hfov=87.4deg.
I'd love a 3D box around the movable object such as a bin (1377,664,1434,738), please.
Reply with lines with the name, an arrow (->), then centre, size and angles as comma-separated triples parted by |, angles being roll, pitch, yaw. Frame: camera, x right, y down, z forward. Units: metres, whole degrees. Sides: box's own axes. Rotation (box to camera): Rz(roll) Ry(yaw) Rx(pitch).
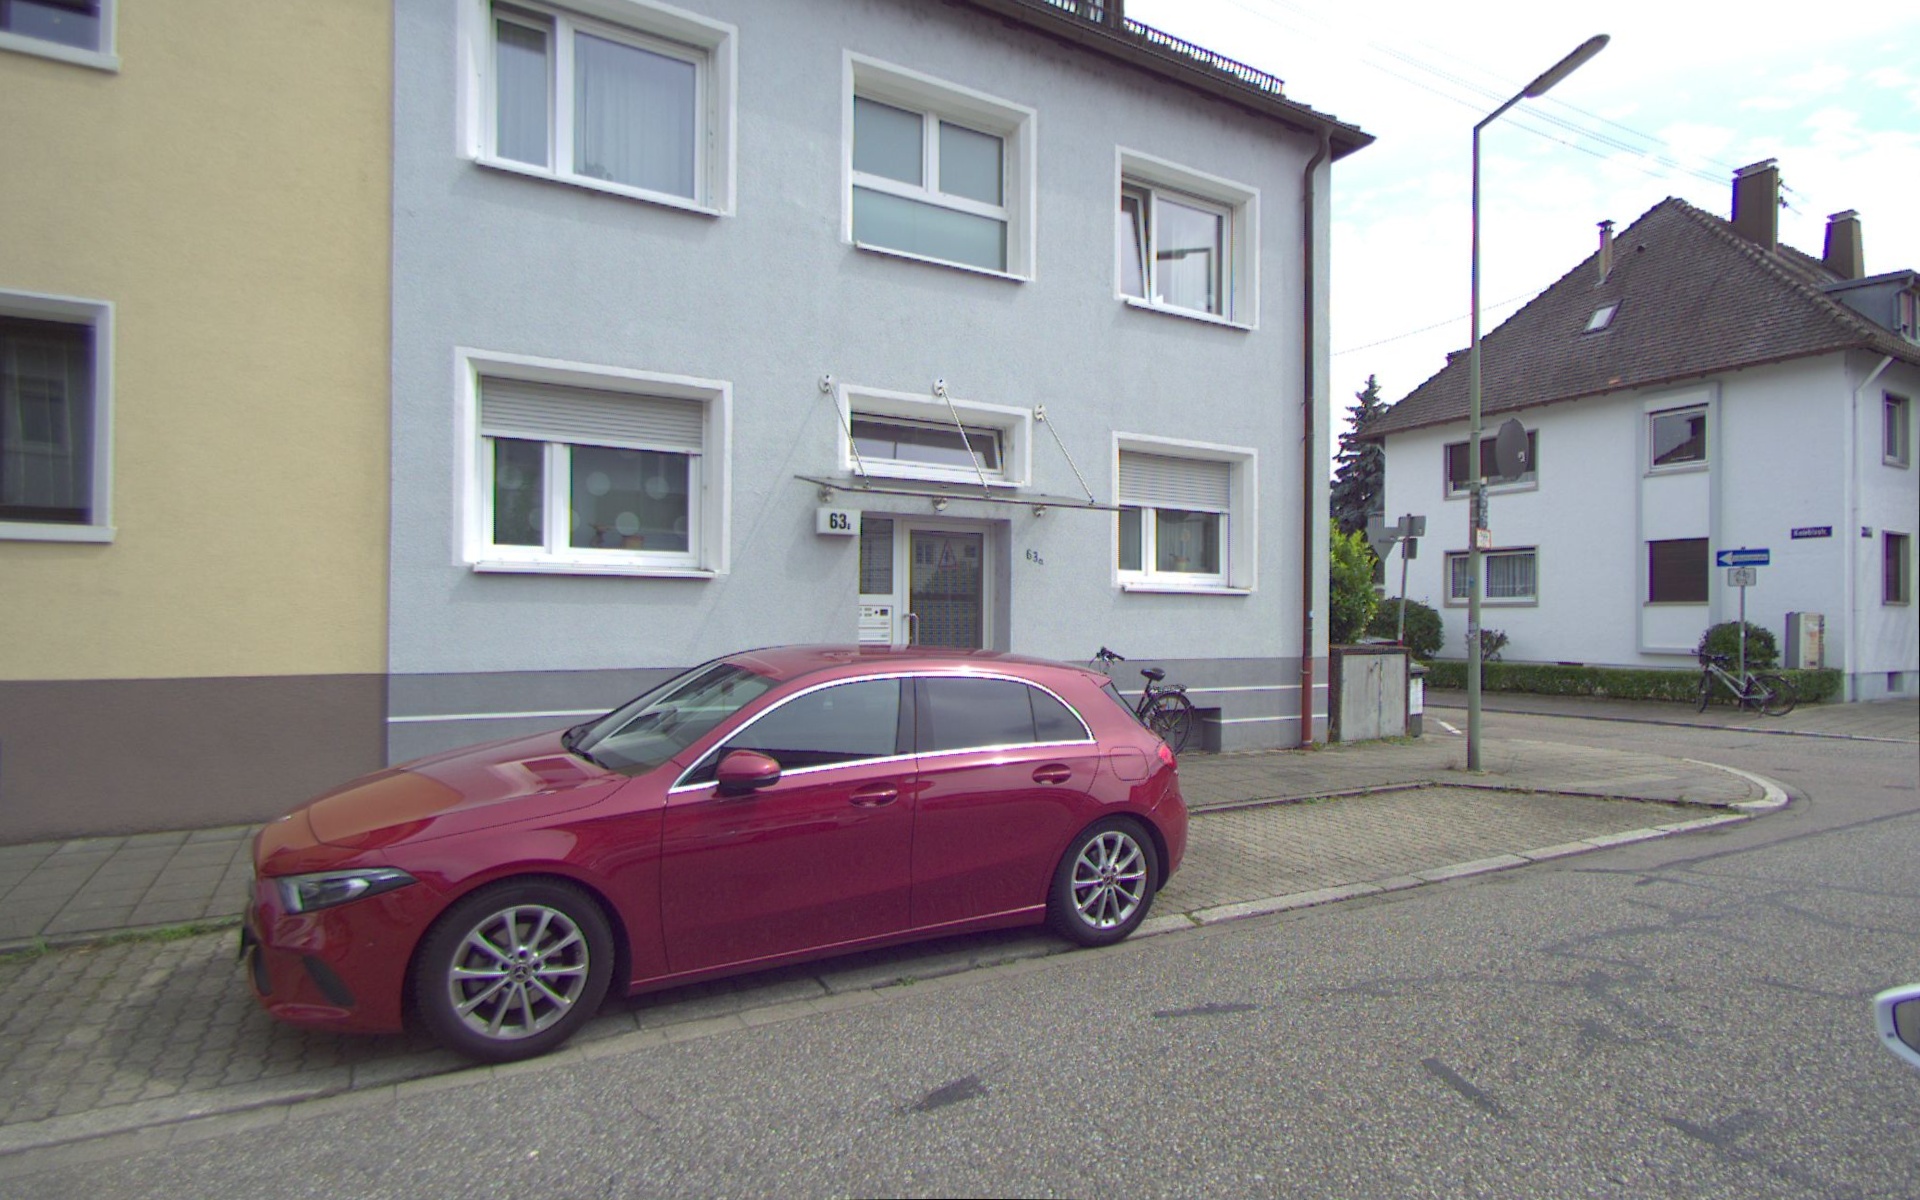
movable object such as a bin -> 5.760, 1.297, 12.996 | 0.471, 0.918, 0.483 | 1, -3, -35

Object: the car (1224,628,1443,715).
car -> 6.815, 1.290, 18.710 | 1.641, 1.441, 3.746 | 1, -3, -25

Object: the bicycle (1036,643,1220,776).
bicycle -> 1.634, 1.000, 9.606 | 1.851, 1.168, 0.488 | 1, -1, -30

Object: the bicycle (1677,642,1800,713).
bicycle -> 13.647, 1.342, 17.657 | 0.430, 1.194, 1.624 | 1, -3, -33

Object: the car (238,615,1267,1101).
car -> -0.757, 0.889, 5.072 | 4.458, 1.505, 1.869 | 1, -3, -30
